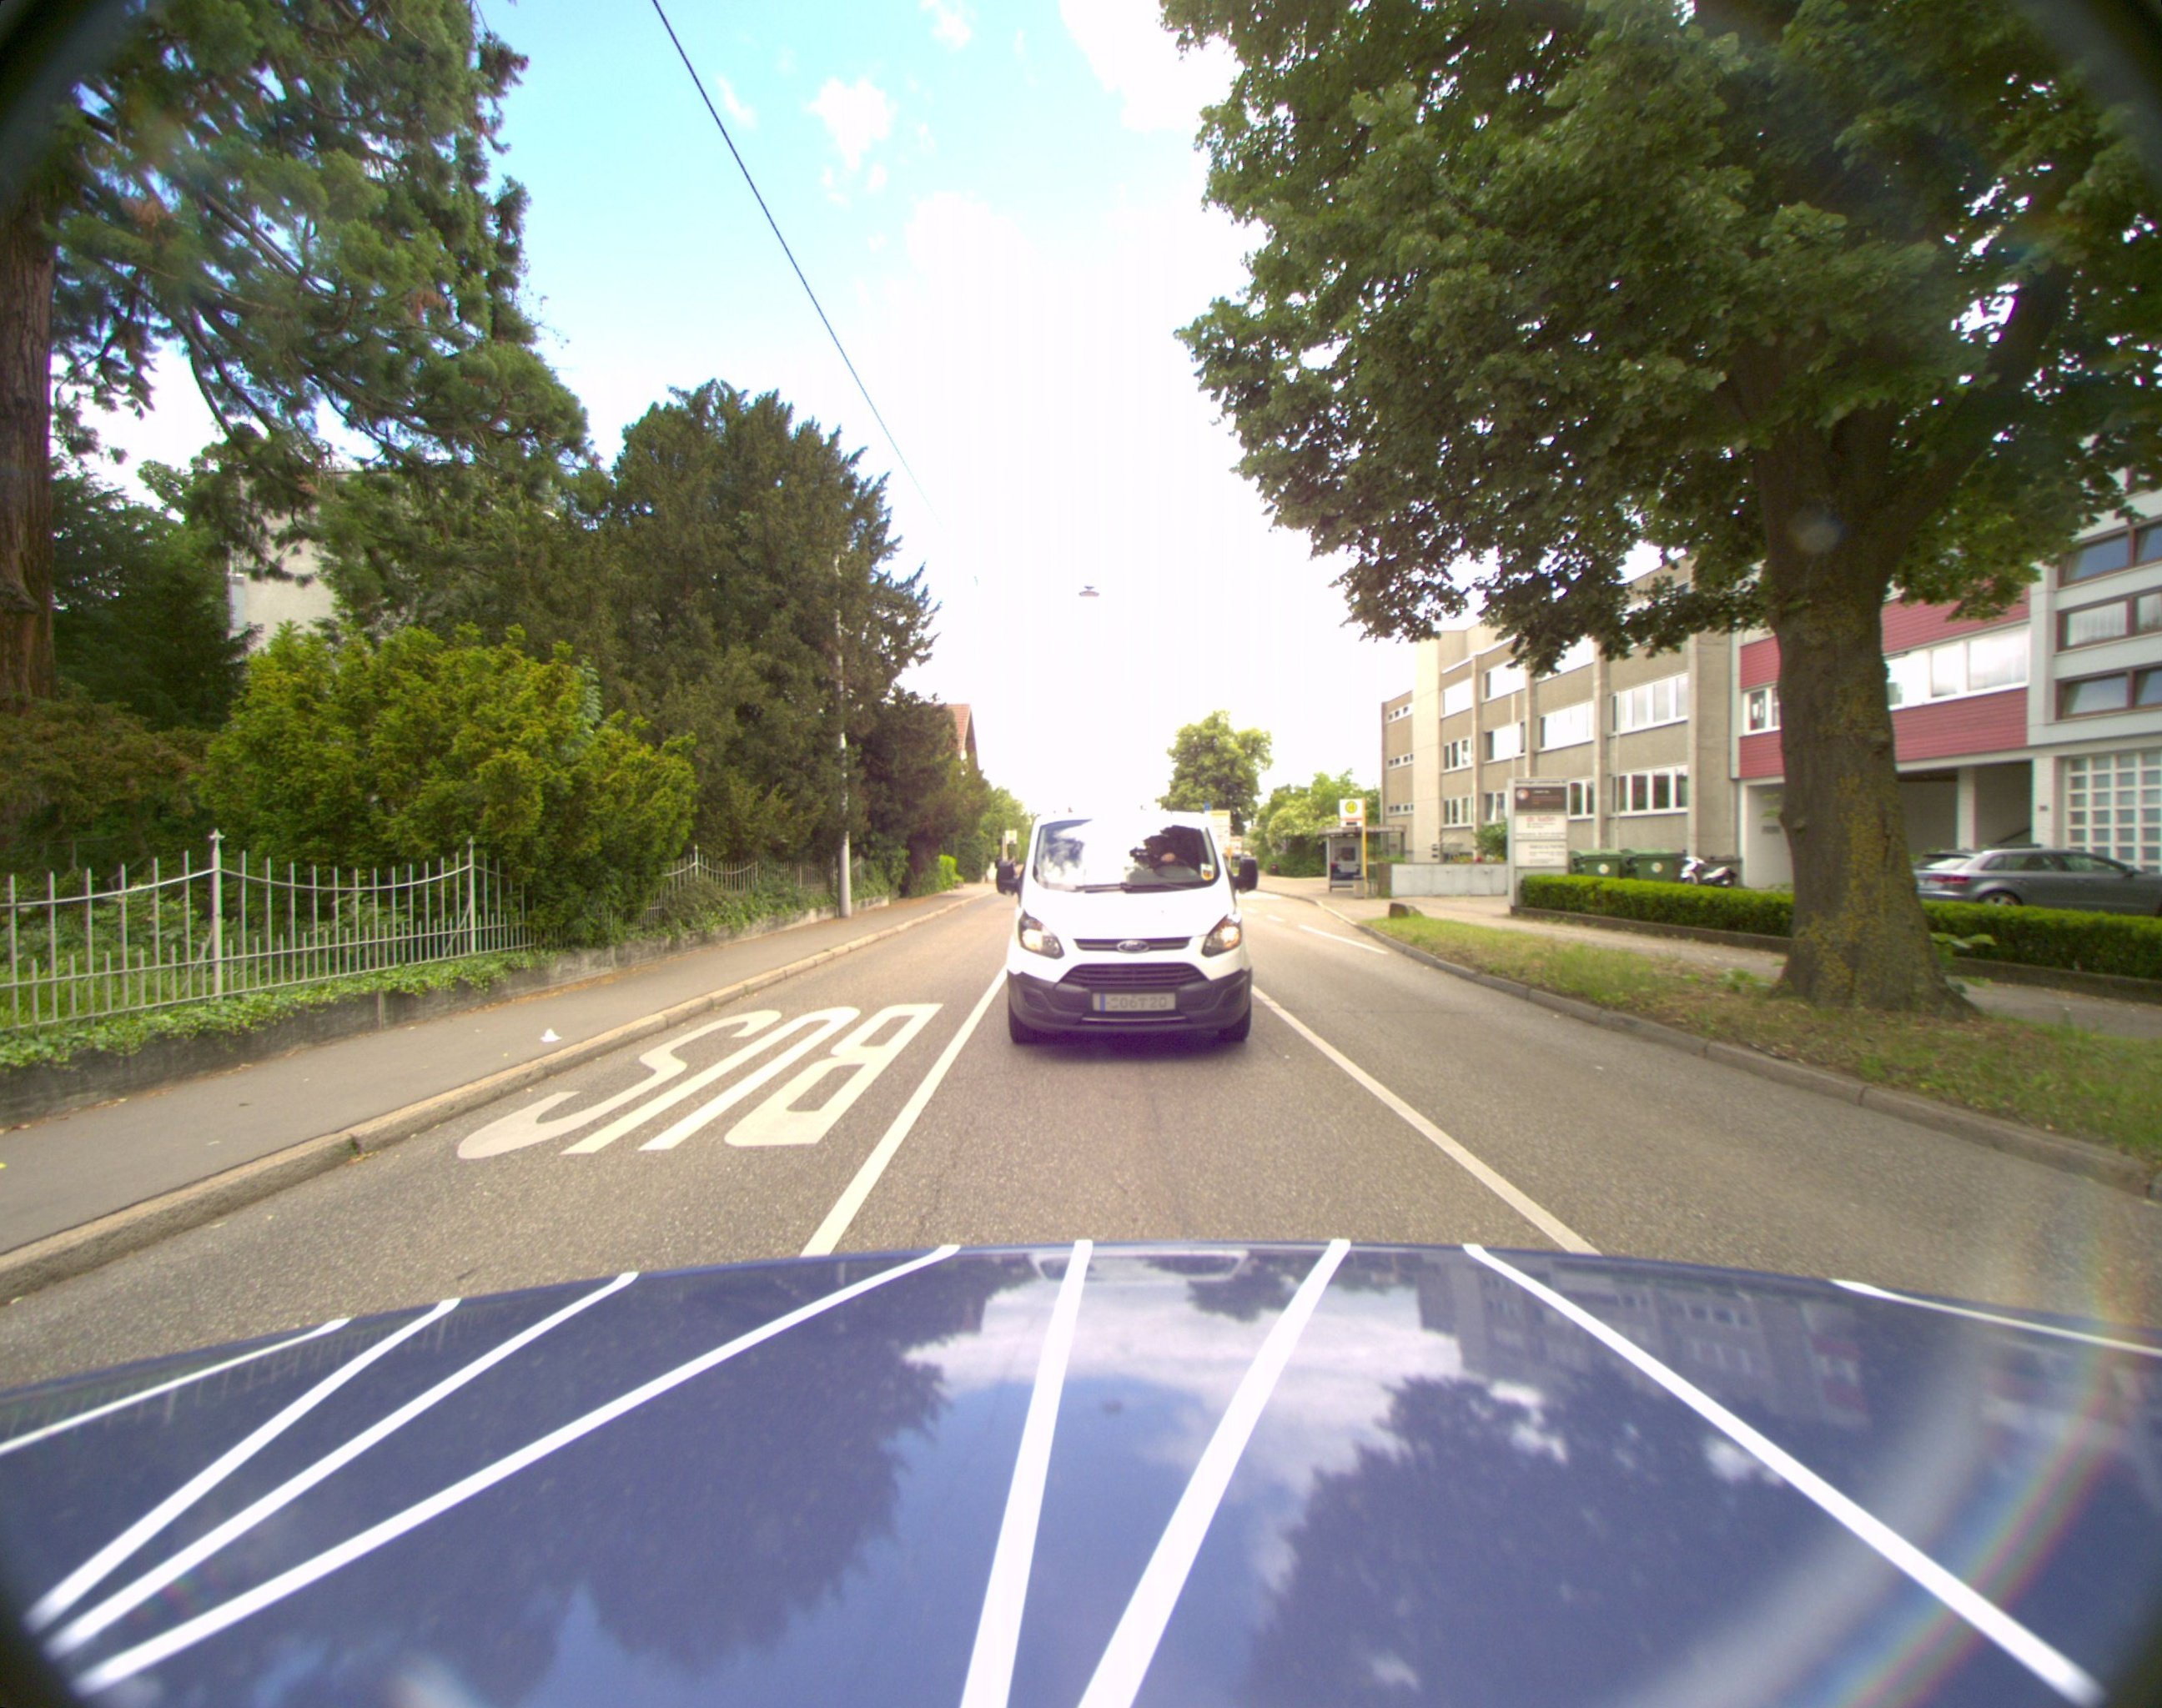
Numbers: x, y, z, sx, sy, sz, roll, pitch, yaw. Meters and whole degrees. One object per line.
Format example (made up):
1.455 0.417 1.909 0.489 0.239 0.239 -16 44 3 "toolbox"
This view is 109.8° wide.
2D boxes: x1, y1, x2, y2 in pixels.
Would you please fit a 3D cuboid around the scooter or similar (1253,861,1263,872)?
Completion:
13.712 0.953 58.864 0.607 0.782 0.860 -2 1 17 "scooter or similar"

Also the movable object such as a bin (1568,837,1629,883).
16.929 0.193 24.868 1.301 1.457 0.992 -2 1 1 "movable object such as a bin"

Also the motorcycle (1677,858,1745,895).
20.580 0.716 24.832 1.645 1.133 0.639 -2 1 1 "motorcycle"

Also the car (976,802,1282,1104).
0.294 0.636 7.958 1.999 1.961 5.714 -2 1 -1 "car"

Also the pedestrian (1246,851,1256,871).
13.437 0.581 60.159 0.672 1.549 0.520 -1 1 18 "pedestrian"

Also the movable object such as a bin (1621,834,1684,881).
18.631 0.112 24.790 1.365 1.457 0.885 -2 1 1 "movable object such as a bin"

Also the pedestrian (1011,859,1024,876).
-4.858 1.038 58.124 0.916 1.244 0.789 2 1 -5 "pedestrian"
